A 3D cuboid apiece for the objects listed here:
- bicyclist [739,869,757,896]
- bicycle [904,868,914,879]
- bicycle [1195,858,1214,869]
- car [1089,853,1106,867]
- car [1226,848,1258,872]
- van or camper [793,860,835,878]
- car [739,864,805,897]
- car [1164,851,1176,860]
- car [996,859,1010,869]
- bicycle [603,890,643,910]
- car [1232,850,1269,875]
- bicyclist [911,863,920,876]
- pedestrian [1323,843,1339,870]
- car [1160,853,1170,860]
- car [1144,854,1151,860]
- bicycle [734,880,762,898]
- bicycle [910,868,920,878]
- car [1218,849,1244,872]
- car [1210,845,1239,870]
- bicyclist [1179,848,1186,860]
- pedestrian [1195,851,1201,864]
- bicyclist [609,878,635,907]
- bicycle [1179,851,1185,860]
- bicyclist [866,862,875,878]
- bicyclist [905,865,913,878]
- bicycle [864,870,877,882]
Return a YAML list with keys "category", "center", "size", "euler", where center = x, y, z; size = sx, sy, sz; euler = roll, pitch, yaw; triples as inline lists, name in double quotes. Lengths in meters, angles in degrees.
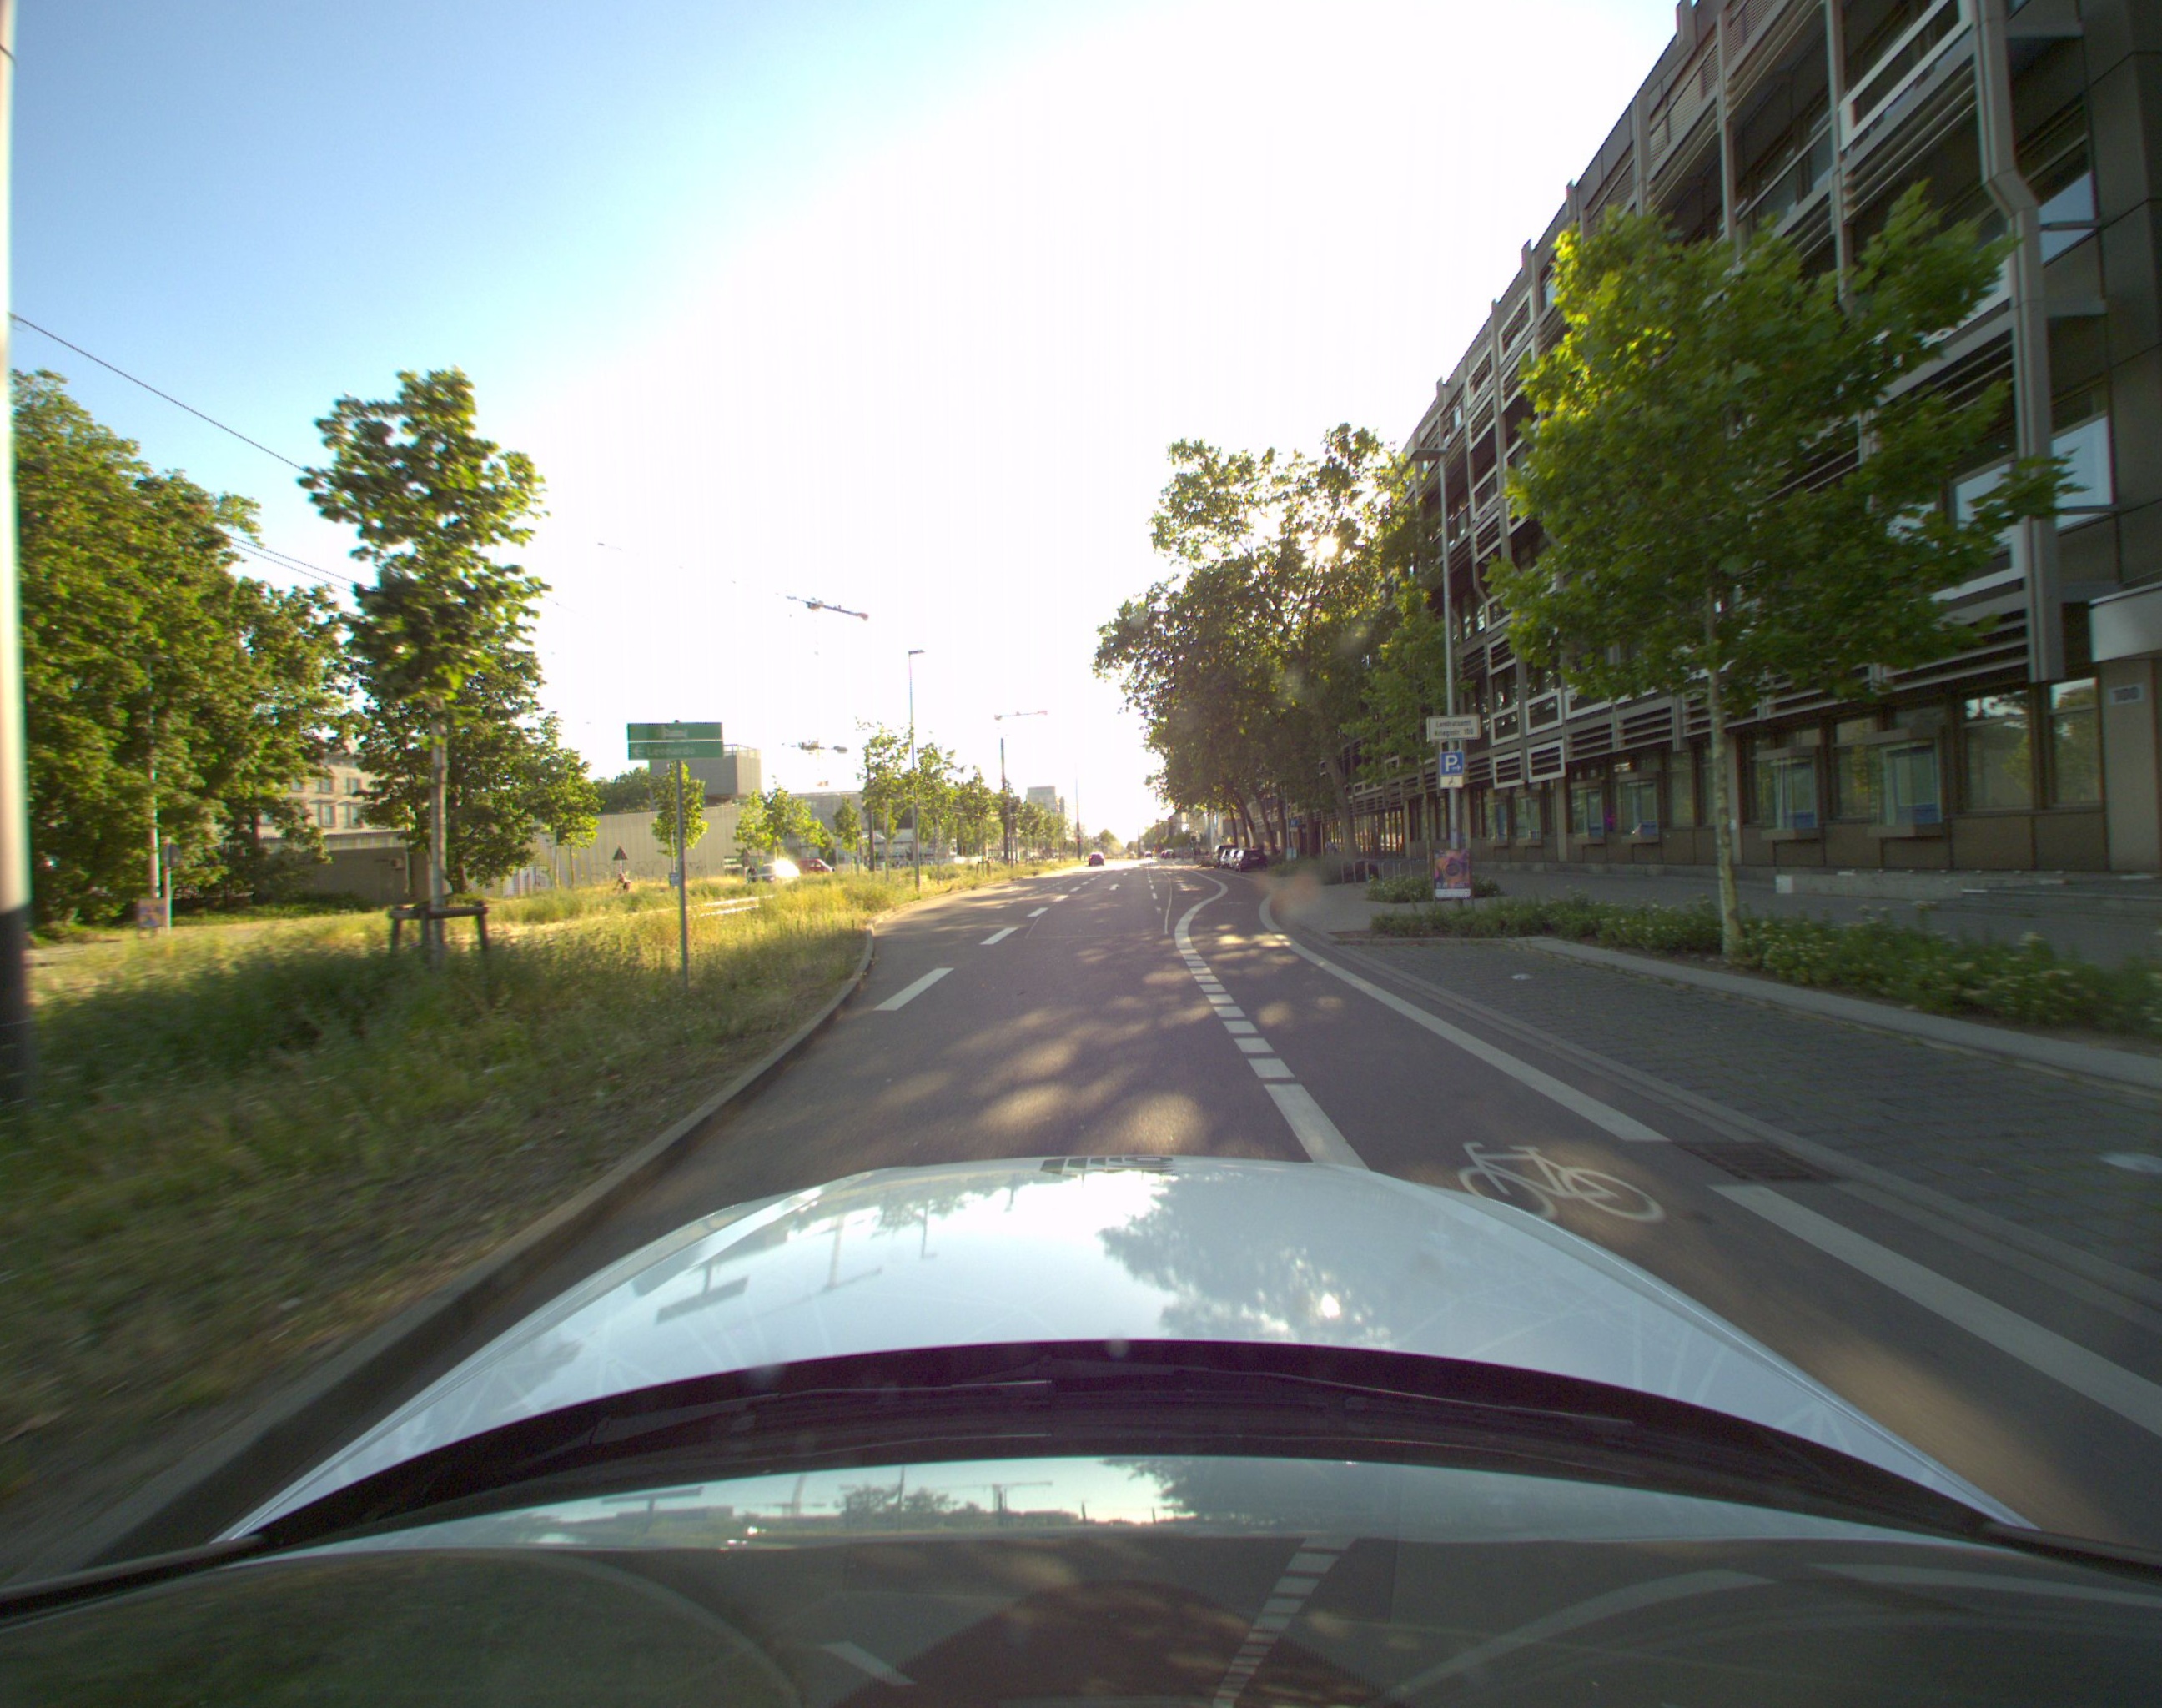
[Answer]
- category: "bicyclist"
  center: [-21.974, 1.878, 53.796]
  size: [0.684, 1.708, 0.955]
  euler: [-3, 0, 4]
- category: "bicycle"
  center: [-19.535, 2.195, 92.401]
  size: [0.581, 1.105, 1.990]
  euler: [-2, 0, 5]
- category: "bicycle"
  center: [11.886, 0.923, 78.146]
  size: [1.680, 0.867, 0.574]
  euler: [-4, 0, 12]
- category: "car"
  center: [1.862, 0.679, 92.644]
  size: [1.770, 1.428, 4.002]
  euler: [-2, 0, 2]
- category: "car"
  center: [11.386, 0.409, 57.888]
  size: [1.674, 1.478, 3.879]
  euler: [-5, 0, 5]
- category: "van or camper"
  center: [-41.578, 2.335, 126.747]
  size: [5.633, 2.414, 2.158]
  euler: [-3, 0, 5]
- category: "car"
  center: [-18.674, 1.567, 49.450]
  size: [1.863, 1.765, 4.817]
  euler: [-3, 0, 3]
- category: "car"
  center: [16.733, 0.269, 153.424]
  size: [1.932, 1.428, 3.928]
  euler: [-3, 0, 2]
- category: "car"
  center: [-15.166, 1.856, 157.558]
  size: [1.985, 1.776, 4.004]
  euler: [-3, 0, 4]
- category: "bicycle"
  center: [-22.539, 2.246, 40.143]
  size: [0.685, 0.804, 2.146]
  euler: [-3, 0, 2]
- category: "car"
  center: [10.774, 0.502, 51.899]
  size: [1.698, 1.418, 4.282]
  euler: [-5, 0, 5]
- category: "bicyclist"
  center: [-18.789, 1.733, 92.485]
  size: [0.581, 1.442, 1.077]
  euler: [-2, 0, 4]
- category: "pedestrian"
  center: [17.470, 0.153, 56.884]
  size: [0.828, 1.856, 0.848]
  euler: [-2, 0, 3]
- category: "car"
  center: [17.876, 0.489, 173.909]
  size: [1.932, 1.485, 3.928]
  euler: [-3, 0, 2]
- category: "car"
  center: [17.138, 0.785, 210.275]
  size: [1.752, 1.485, 3.852]
  euler: [-3, 0, 2]
- category: "bicycle"
  center: [-21.964, 2.294, 53.782]
  size: [0.684, 1.003, 2.364]
  euler: [-3, 0, 4]
- category: "bicycle"
  center: [-18.797, 2.153, 92.404]
  size: [0.581, 1.105, 1.990]
  euler: [-2, 0, 5]
- category: "car"
  center: [11.727, 0.476, 63.765]
  size: [1.672, 1.514, 5.071]
  euler: [-5, 0, 8]
- category: "car"
  center: [12.276, 0.290, 69.850]
  size: [1.821, 1.970, 5.328]
  euler: [-5, 0, 4]
- category: "bicyclist"
  center: [14.295, 0.021, 114.704]
  size: [0.796, 1.602, 0.786]
  euler: [-2, 0, 5]
- category: "pedestrian"
  center: [15.446, 0.414, 107.608]
  size: [0.631, 1.703, 0.570]
  euler: [-4, 0, 4]
- category: "bicyclist"
  center: [-22.557, 1.873, 40.035]
  size: [0.685, 1.346, 0.871]
  euler: [-3, 0, 2]
- category: "bicycle"
  center: [14.217, 0.164, 114.676]
  size: [0.795, 1.204, 2.269]
  euler: [-2, 0, 8]
- category: "bicyclist"
  center: [-19.999, 1.524, 77.312]
  size: [0.554, 1.507, 0.668]
  euler: [-2, 0, 4]
- category: "bicyclist"
  center: [-19.540, 1.948, 92.379]
  size: [0.581, 1.442, 1.077]
  euler: [-2, 0, 4]
- category: "bicycle"
  center: [-19.973, 2.129, 77.381]
  size: [0.556, 1.060, 1.900]
  euler: [-2, 0, 4]
